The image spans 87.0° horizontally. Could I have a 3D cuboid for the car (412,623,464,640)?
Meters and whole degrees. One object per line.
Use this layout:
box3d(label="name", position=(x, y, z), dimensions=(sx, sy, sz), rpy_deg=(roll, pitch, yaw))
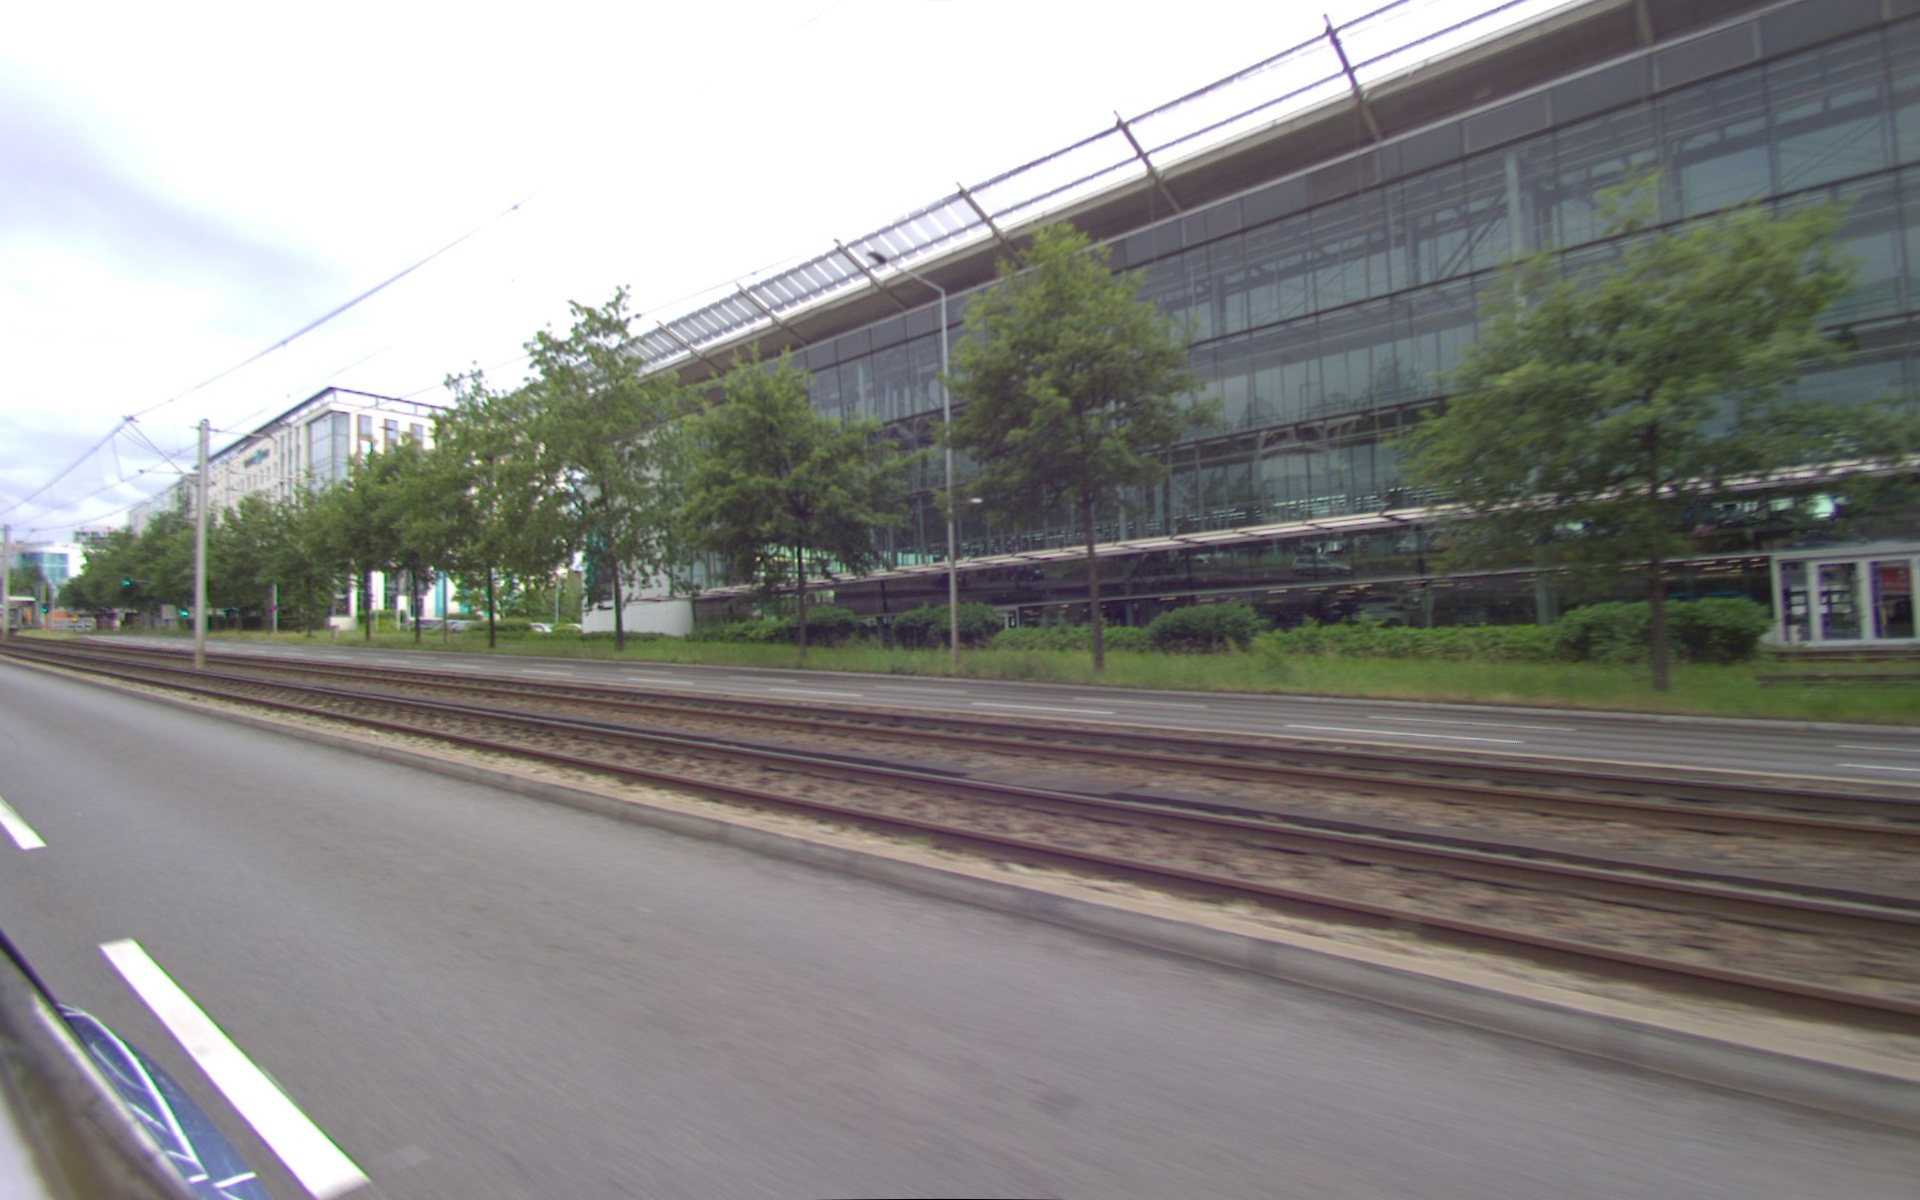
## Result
box3d(label="car", position=(-46.916, 2.807, 91.051), dimensions=(3.931, 1.401, 1.809), rpy_deg=(-1, 1, -22))

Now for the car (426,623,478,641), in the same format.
box3d(label="car", position=(-44.529, 2.790, 88.737), dimensions=(3.931, 1.401, 1.770), rpy_deg=(-1, 1, -22))

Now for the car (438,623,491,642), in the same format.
box3d(label="car", position=(-42.378, 2.772, 86.714), dimensions=(3.931, 1.401, 1.809), rpy_deg=(-1, 1, -22))
